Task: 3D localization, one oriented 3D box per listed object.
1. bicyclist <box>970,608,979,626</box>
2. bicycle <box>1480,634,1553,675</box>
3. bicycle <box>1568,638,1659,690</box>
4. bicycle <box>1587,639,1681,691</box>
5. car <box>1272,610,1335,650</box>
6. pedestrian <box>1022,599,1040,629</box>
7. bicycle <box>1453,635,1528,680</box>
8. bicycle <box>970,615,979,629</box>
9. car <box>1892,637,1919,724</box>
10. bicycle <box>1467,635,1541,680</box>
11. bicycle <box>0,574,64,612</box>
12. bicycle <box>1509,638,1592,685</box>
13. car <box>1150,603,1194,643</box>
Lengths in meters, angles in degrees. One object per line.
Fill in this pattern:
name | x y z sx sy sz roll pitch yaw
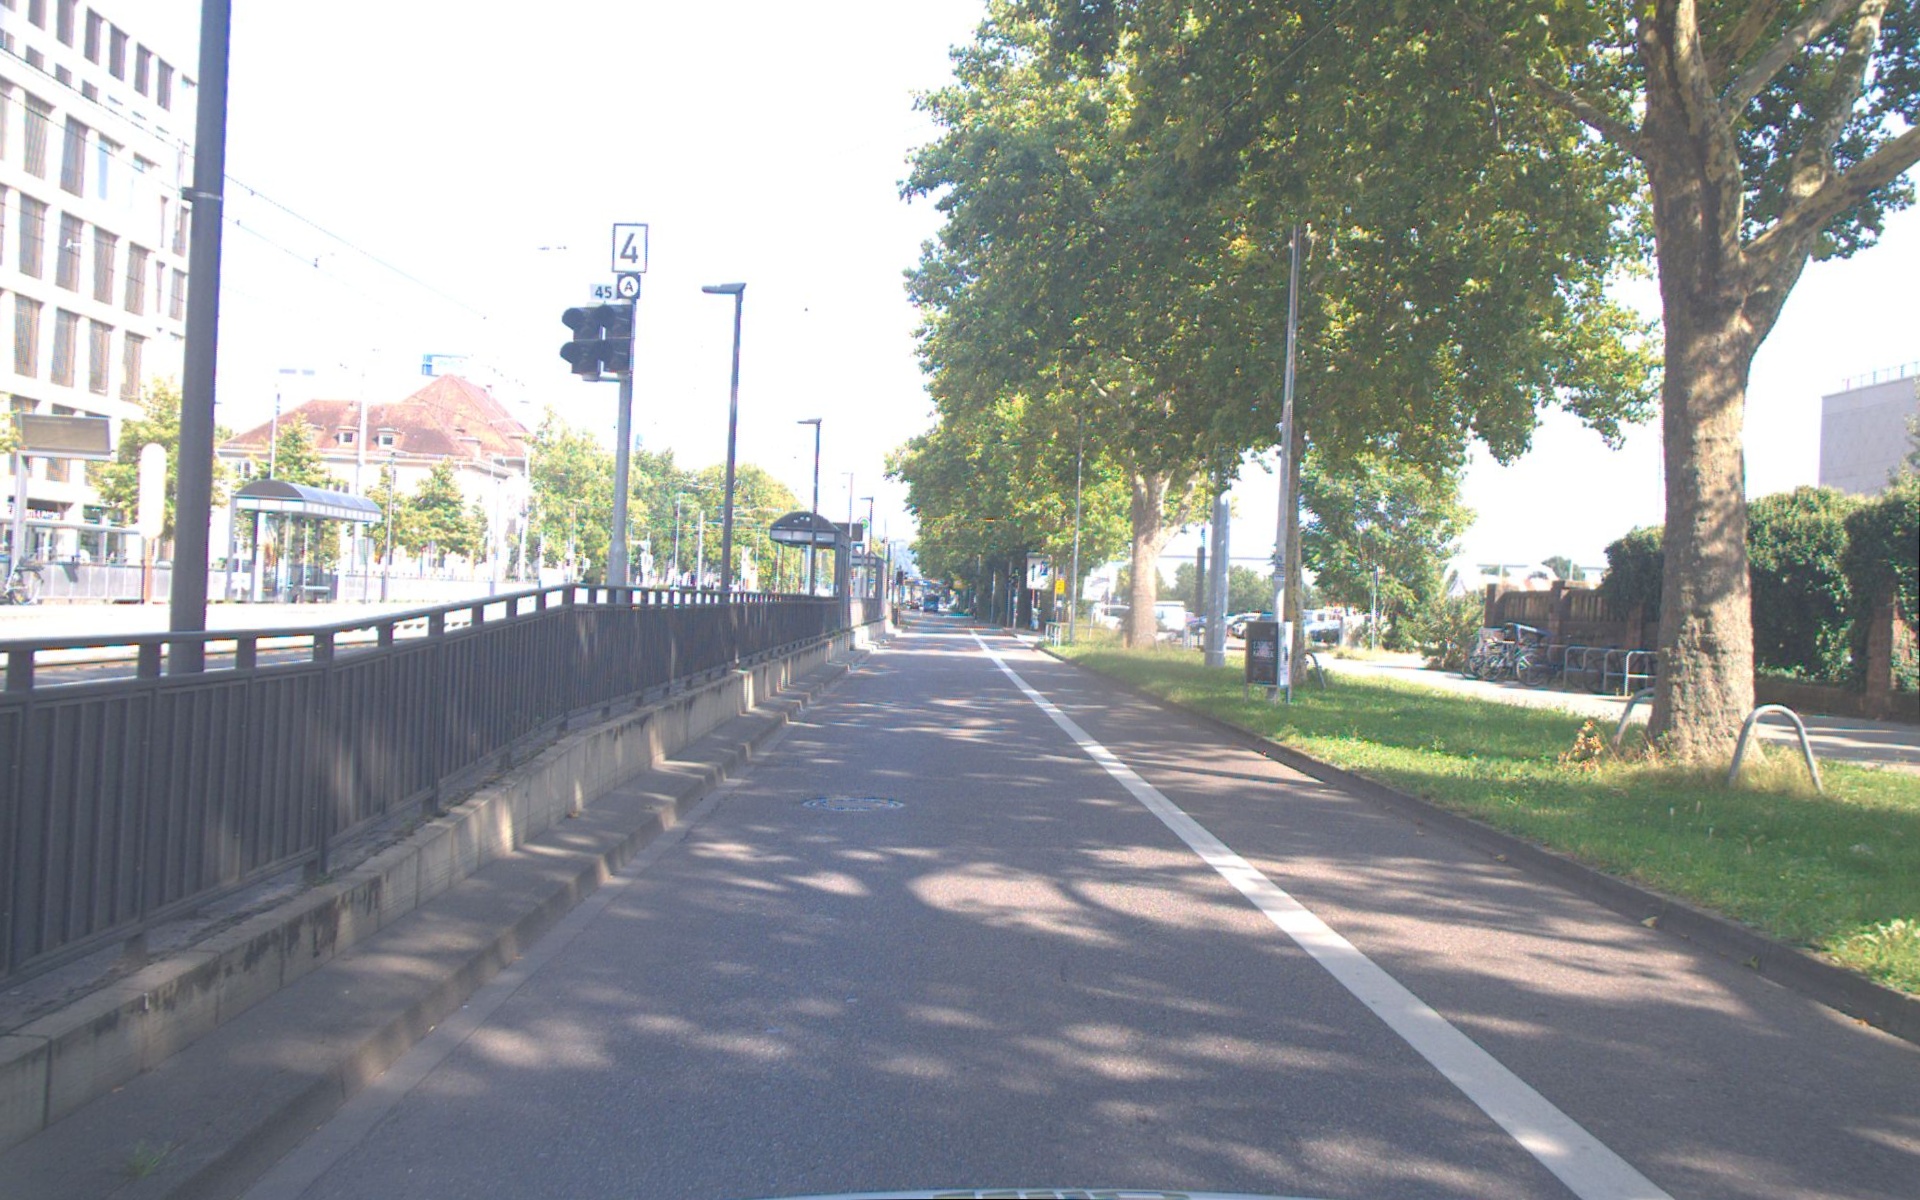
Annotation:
bicyclist | 1.237 1.442 139.892 0.691 1.486 1.009 3 -1 -1
bicycle | 13.569 1.326 40.350 1.622 0.986 0.506 1 0 1
bicycle | 13.094 1.280 33.173 1.621 0.986 0.506 1 0 4
bicycle | 13.142 1.265 32.284 1.622 0.986 0.506 1 0 0
car | 15.735 1.391 75.614 1.689 1.708 4.243 2 0 27
pedestrian | 3.997 0.780 92.717 0.614 1.645 0.842 2 0 36
bicycle | 12.317 1.320 38.433 0.502 0.986 1.636 1 0 -42
bicycle | 1.212 1.850 139.776 0.700 1.127 2.508 3 -1 -1
car | 21.348 1.694 32.905 4.426 1.704 1.977 2 0 2
bicycle | 12.804 1.346 38.975 0.502 0.986 1.636 1 0 -42
bicycle | -17.179 -0.132 30.371 0.467 0.674 1.614 2 0 3
bicycle | 12.783 1.335 35.839 1.621 0.986 0.506 1 0 4
car | 11.456 1.218 89.783 1.687 2.084 4.460 2 0 -1
